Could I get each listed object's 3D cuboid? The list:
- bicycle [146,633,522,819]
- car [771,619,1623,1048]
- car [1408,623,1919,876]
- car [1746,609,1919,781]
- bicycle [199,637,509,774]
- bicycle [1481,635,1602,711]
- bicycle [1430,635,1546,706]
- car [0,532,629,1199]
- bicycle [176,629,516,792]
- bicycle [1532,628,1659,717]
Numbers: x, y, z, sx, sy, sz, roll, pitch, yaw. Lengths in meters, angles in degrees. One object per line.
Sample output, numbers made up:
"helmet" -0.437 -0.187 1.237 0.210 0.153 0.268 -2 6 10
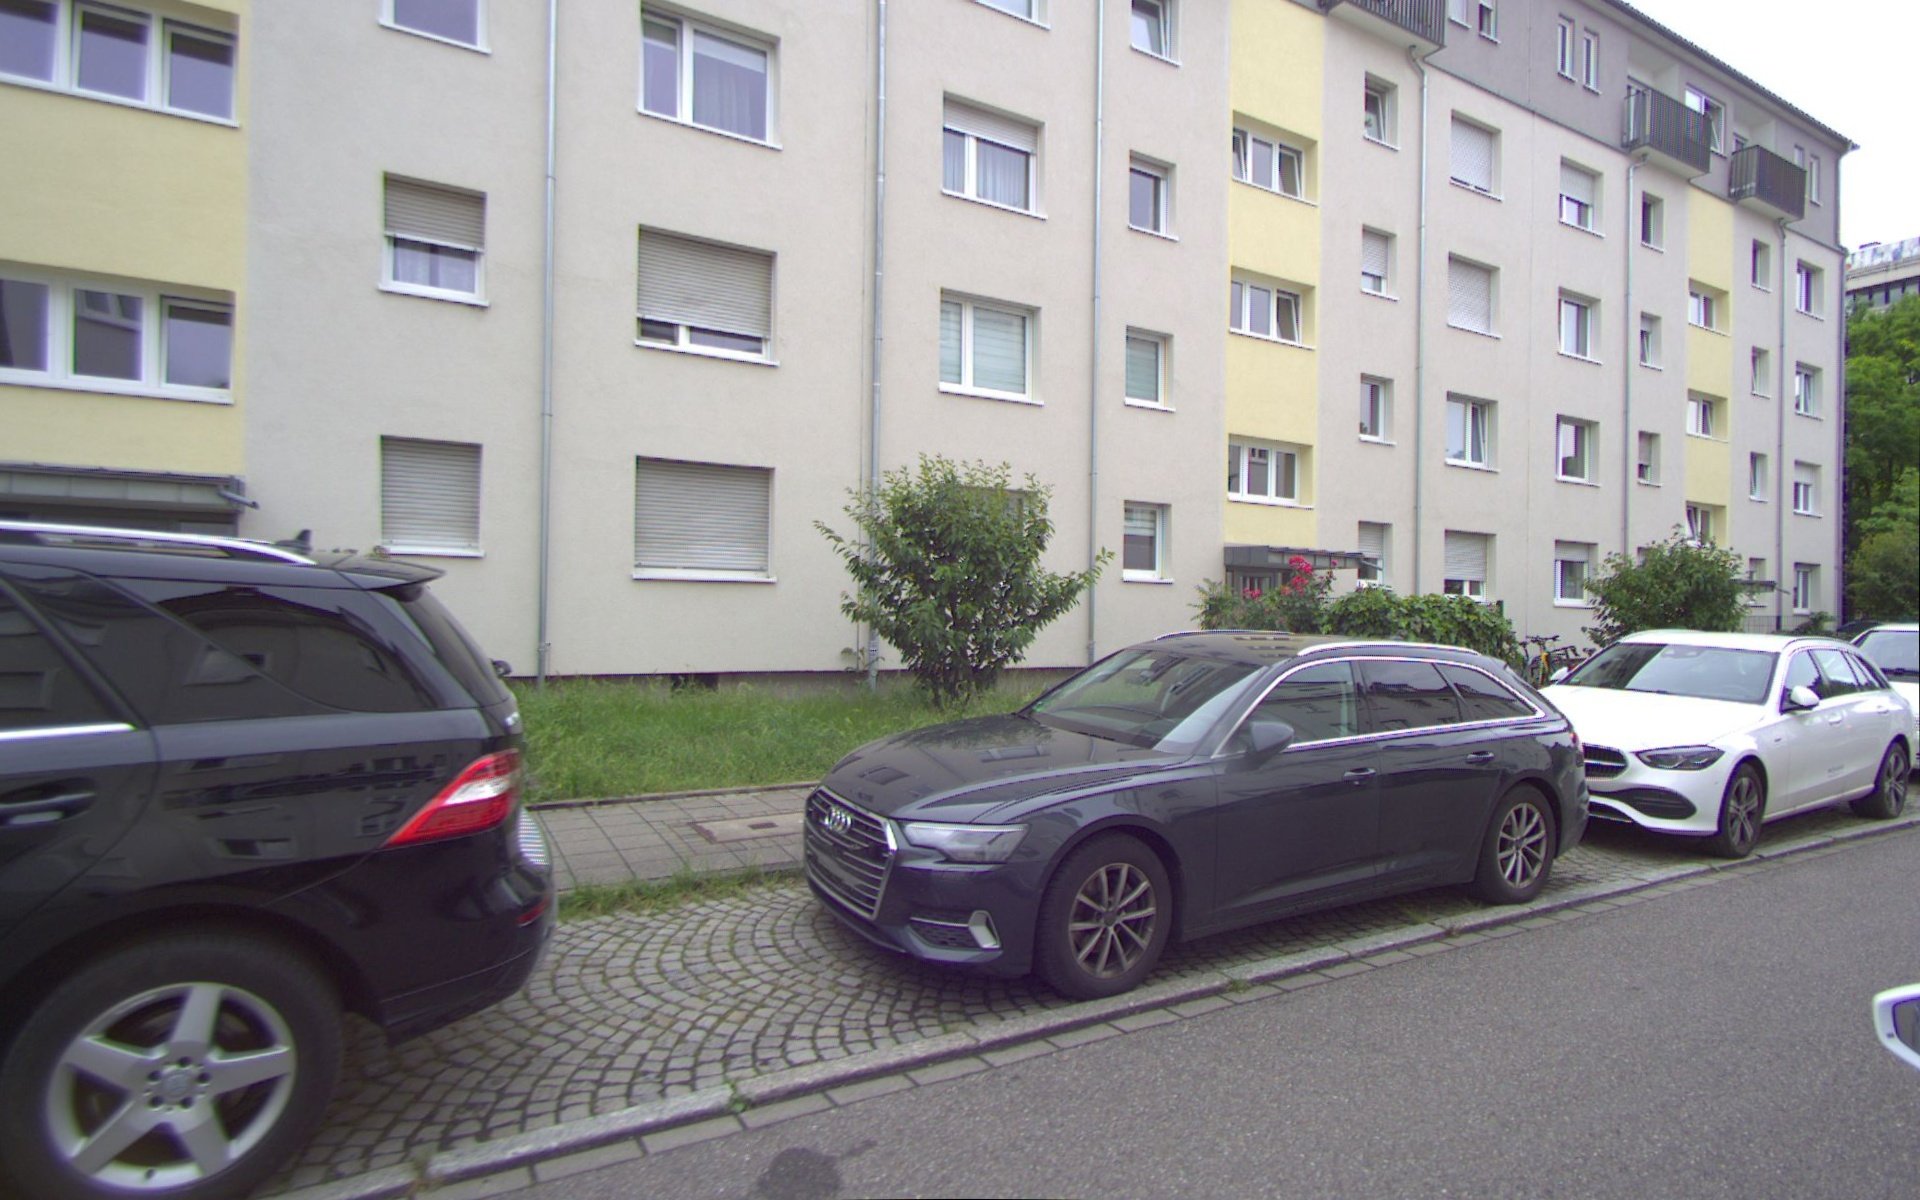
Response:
"bicycle" -4.661 0.877 7.690 2.327 1.228 0.784 1 -1 -30
"car" 1.471 0.911 5.647 4.611 1.472 1.886 1 2 -30
"car" 5.921 0.985 8.208 4.469 1.472 1.885 1 2 -31
"car" 11.115 0.984 11.412 4.468 1.620 1.886 1 2 -30
"bicycle" -5.432 0.902 9.179 2.327 1.095 0.784 1 -1 -30
"bicycle" 9.172 1.114 15.819 2.066 1.092 0.728 1 0 -31
"bicycle" 8.796 1.145 16.701 2.066 1.092 0.728 1 0 -31
"car" -3.392 0.674 2.755 4.422 1.763 1.886 1 2 -30
"bicycle" -5.039 0.850 8.431 2.327 1.202 0.784 1 -1 -30
"bicycle" 9.482 1.044 14.971 2.066 1.227 0.728 1 0 -31
